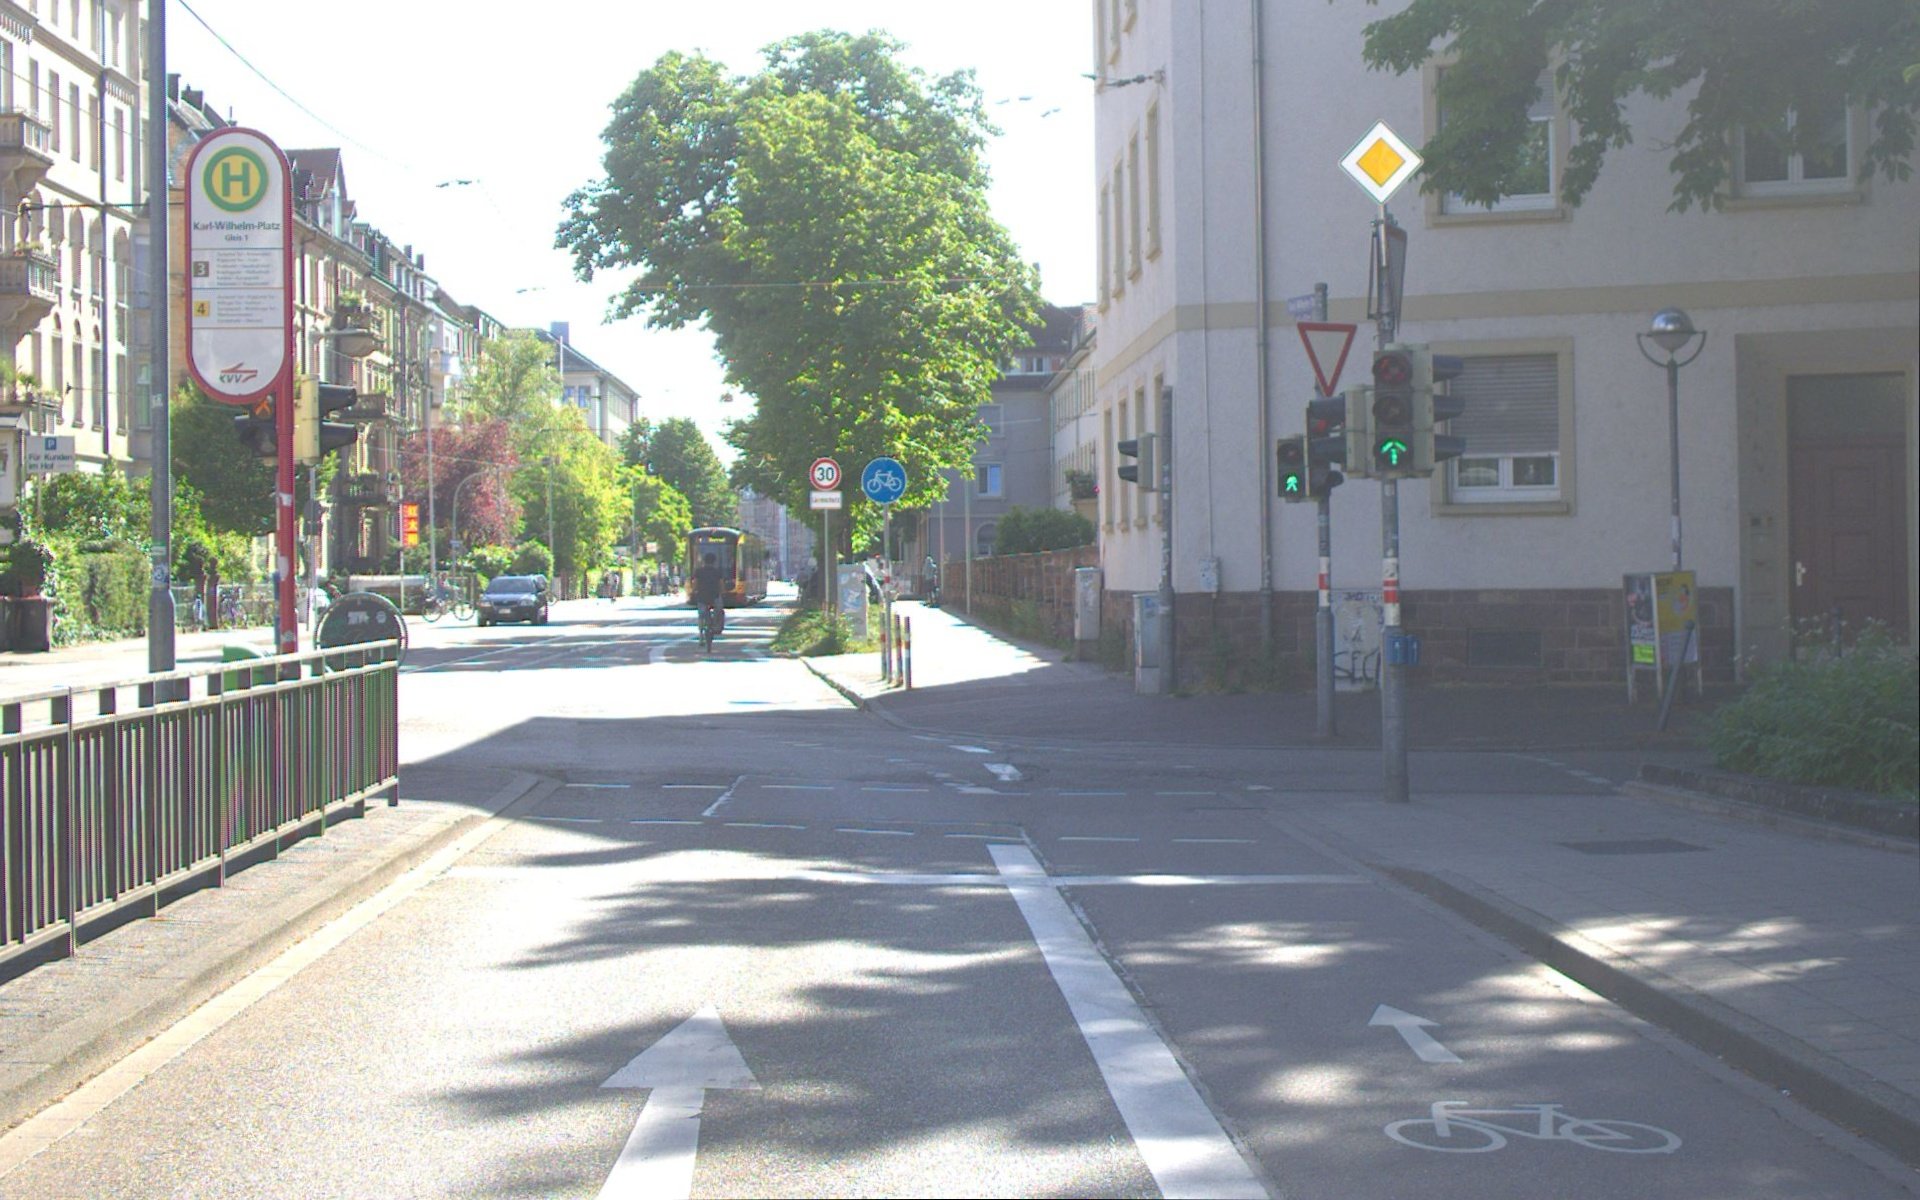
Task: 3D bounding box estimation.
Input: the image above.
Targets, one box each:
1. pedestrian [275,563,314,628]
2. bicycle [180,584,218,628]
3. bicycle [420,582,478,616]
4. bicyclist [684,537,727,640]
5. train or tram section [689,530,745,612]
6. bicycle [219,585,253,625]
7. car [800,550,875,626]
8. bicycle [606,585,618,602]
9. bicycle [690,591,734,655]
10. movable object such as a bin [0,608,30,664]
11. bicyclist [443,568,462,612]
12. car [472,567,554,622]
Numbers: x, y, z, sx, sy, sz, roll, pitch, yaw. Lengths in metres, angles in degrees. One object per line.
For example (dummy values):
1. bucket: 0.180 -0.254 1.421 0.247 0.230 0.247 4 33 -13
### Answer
1. pedestrian: -17.805 -0.120 91.980 0.829 1.718 1.082 1 -1 -1
2. bicycle: -18.909 0.154 85.453 0.563 1.030 1.768 1 2 -1
3. bicycle: -17.137 -0.030 115.229 1.910 1.108 0.694 1 0 -9
4. bicyclist: -4.596 -0.212 62.221 0.727 1.842 0.837 1 0 -2
5. train or tram section: -10.491 -1.269 148.817 2.153 3.420 6.612 1 1 -2
6. bicycle: -18.906 0.125 89.795 0.563 1.030 1.768 1 1 -2
7. car: -2.994 -0.309 83.715 1.743 1.760 4.478 1 1 -2
8. bicycle: -18.682 -0.352 184.422 0.460 0.923 2.203 -2 1 -1
9. bicycle: -4.489 0.409 62.306 0.691 1.108 1.719 1 1 -1
10. movable object such as a bin: -18.681 0.705 67.876 0.479 1.082 0.541 1 0 0
11. bicyclist: -17.015 -0.329 115.255 0.613 1.463 0.637 1 0 -9
12. car: -13.159 -0.187 101.489 1.832 1.513 4.967 2 1 -1
